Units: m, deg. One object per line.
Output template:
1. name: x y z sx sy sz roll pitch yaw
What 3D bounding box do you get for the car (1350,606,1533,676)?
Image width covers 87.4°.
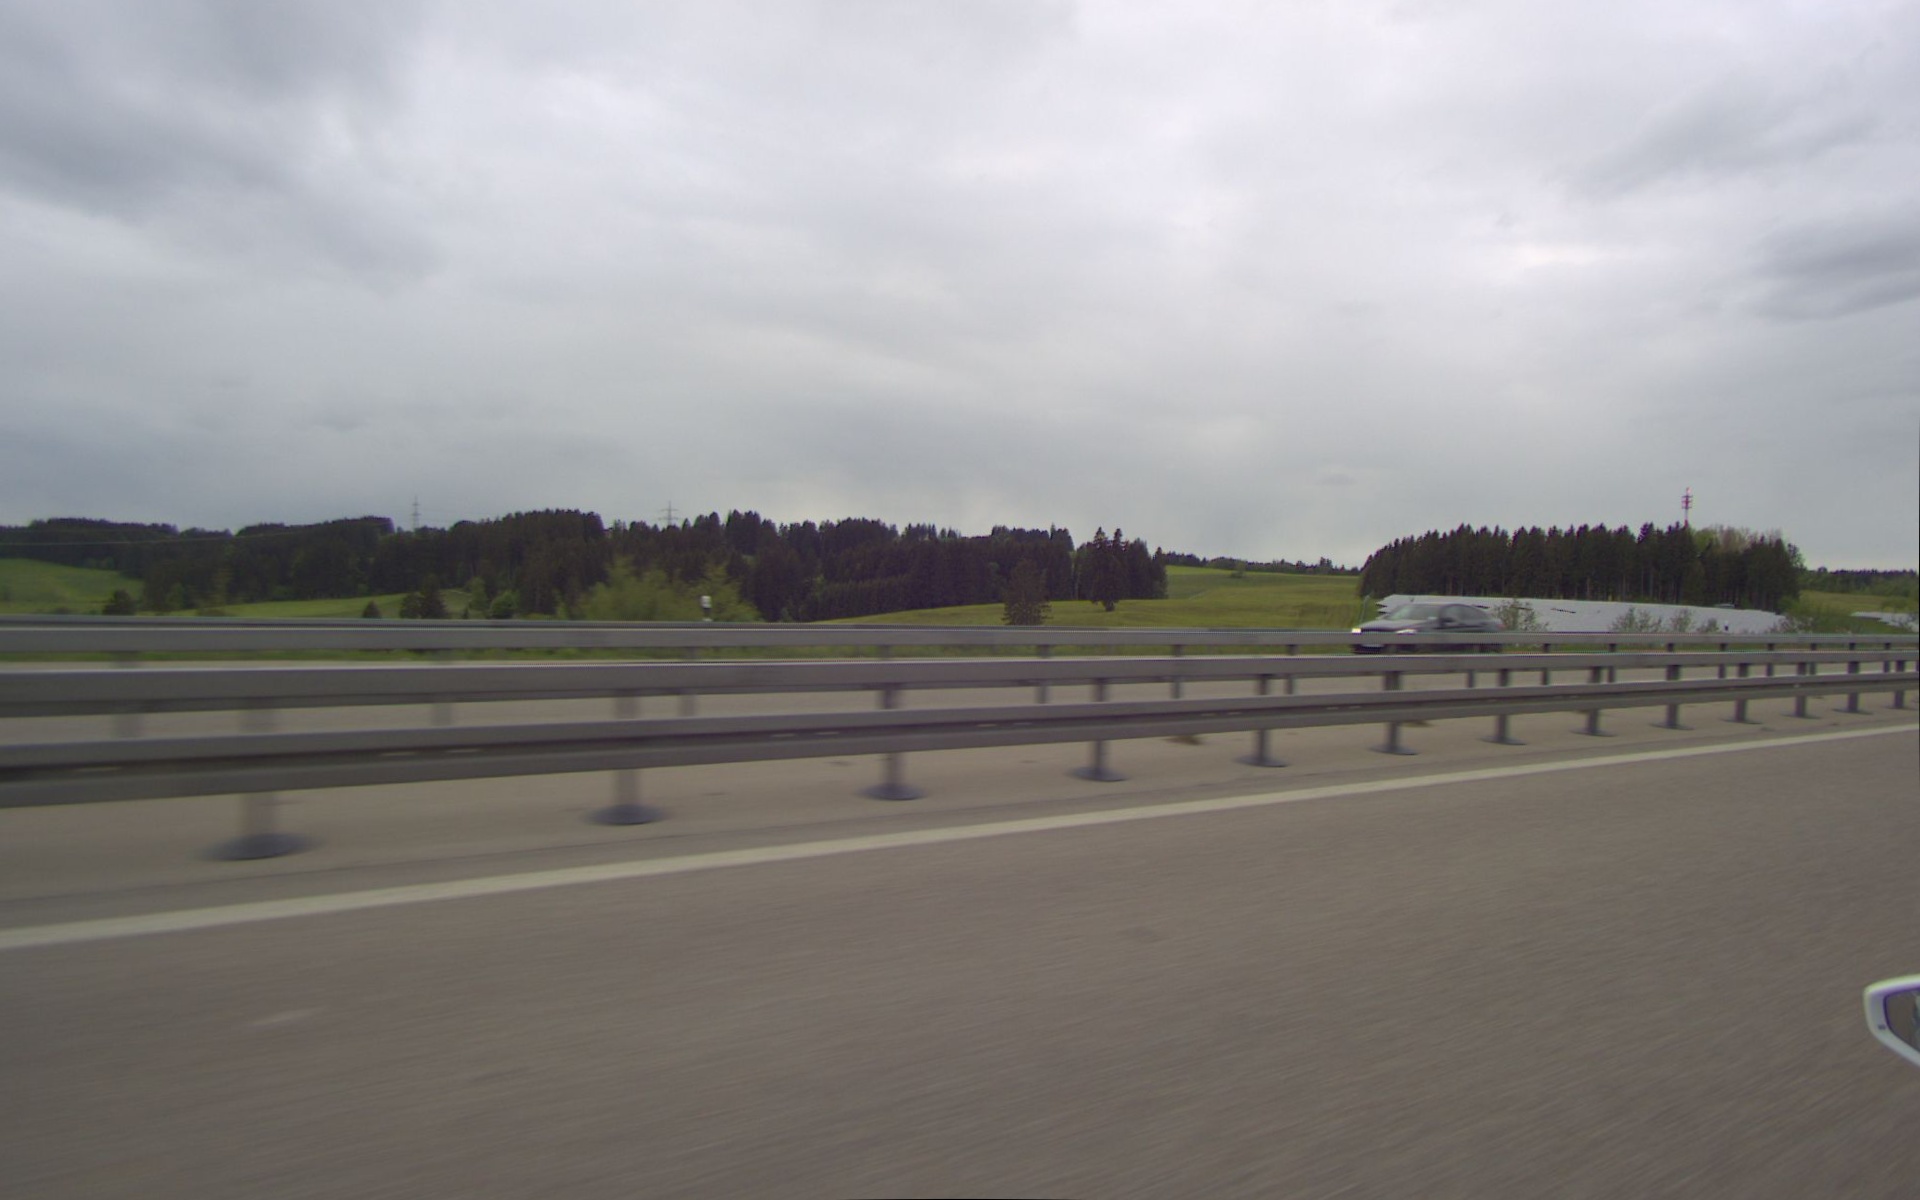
1. car: 12.609 1.066 26.224 4.793 1.638 1.983 2 0 -31
